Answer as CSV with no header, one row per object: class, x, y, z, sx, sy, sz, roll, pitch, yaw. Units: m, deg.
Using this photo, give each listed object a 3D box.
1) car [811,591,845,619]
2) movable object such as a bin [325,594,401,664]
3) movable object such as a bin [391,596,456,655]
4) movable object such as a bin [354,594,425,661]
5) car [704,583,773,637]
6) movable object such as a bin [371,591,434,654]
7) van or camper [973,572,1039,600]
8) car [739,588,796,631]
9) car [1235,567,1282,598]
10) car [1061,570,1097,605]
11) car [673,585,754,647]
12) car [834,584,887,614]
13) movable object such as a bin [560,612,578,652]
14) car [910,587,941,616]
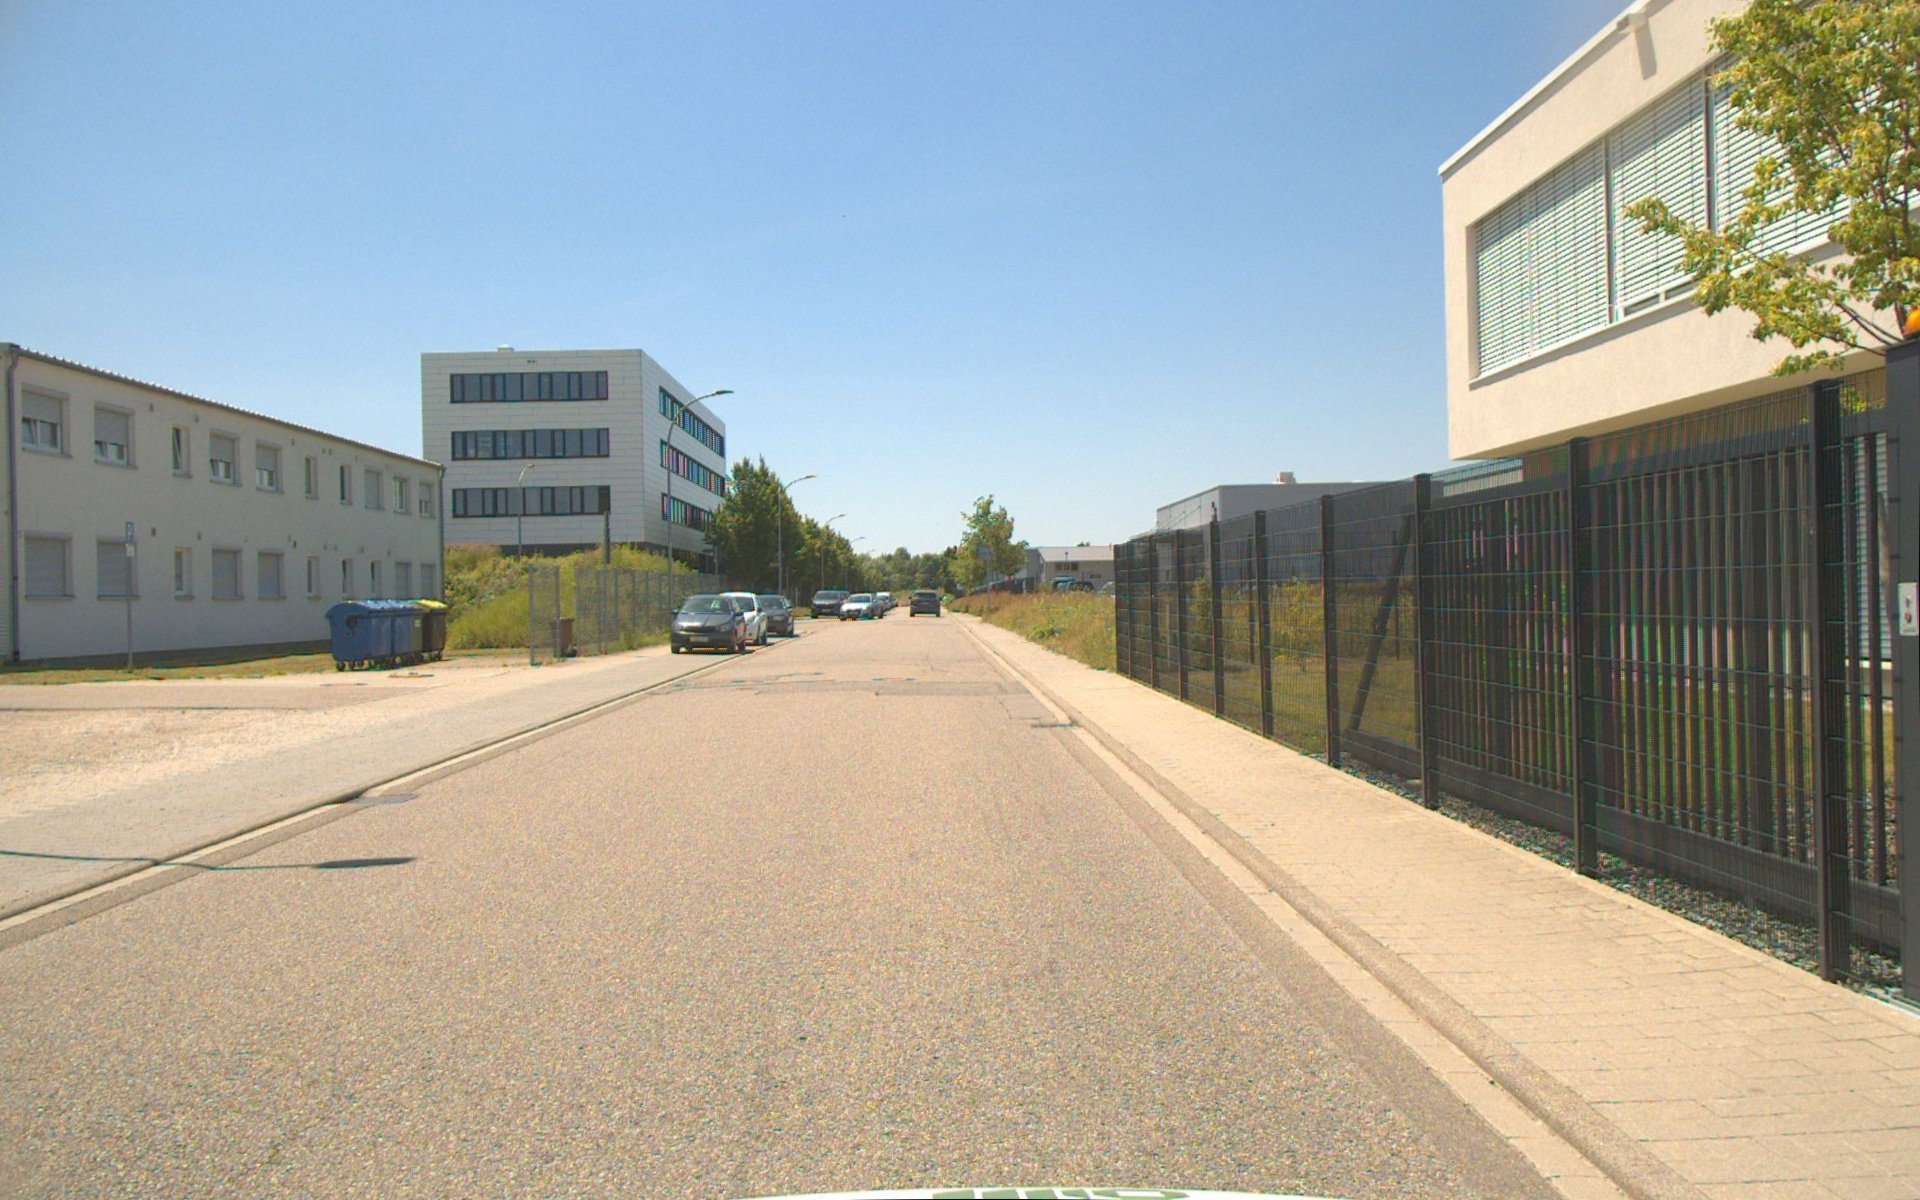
car,-7.840,0.297,98.294,1.735,1.615,4.480,-1,0,-2
movable object such as a bin,-13.074,0.623,36.272,1.120,1.473,1.434,-1,0,1
movable object such as a bin,-13.209,0.621,40.773,1.119,1.430,1.388,-1,0,1
movable object such as a bin,-13.061,0.619,37.917,1.101,1.473,1.371,-1,0,1
car,-6.657,0.301,49.978,1.640,1.557,3.756,-1,0,-2
movable object such as a bin,-13.242,0.528,39.332,1.066,1.473,1.388,-1,0,-3
van or camper,4.682,-1.377,169.627,6.622,2.630,2.634,-2,0,-2
car,-6.843,0.327,58.983,1.640,1.476,4.067,-1,0,-2
car,14.518,-0.829,80.485,1.484,1.421,3.539,-2,0,-3
car,5.705,-0.600,79.501,1.437,1.601,2.661,-2,0,-1
car,-6.478,0.406,43.717,1.640,1.557,3.908,0,0,-2
car,-5.505,-0.054,92.233,1.733,1.615,4.079,-1,0,15
movable object such as a bin,-9.432,0.767,39.912,0.298,0.956,0.497,-1,0,1
car,-2.066,0.109,98.802,1.753,1.652,3.808,1,0,-2
